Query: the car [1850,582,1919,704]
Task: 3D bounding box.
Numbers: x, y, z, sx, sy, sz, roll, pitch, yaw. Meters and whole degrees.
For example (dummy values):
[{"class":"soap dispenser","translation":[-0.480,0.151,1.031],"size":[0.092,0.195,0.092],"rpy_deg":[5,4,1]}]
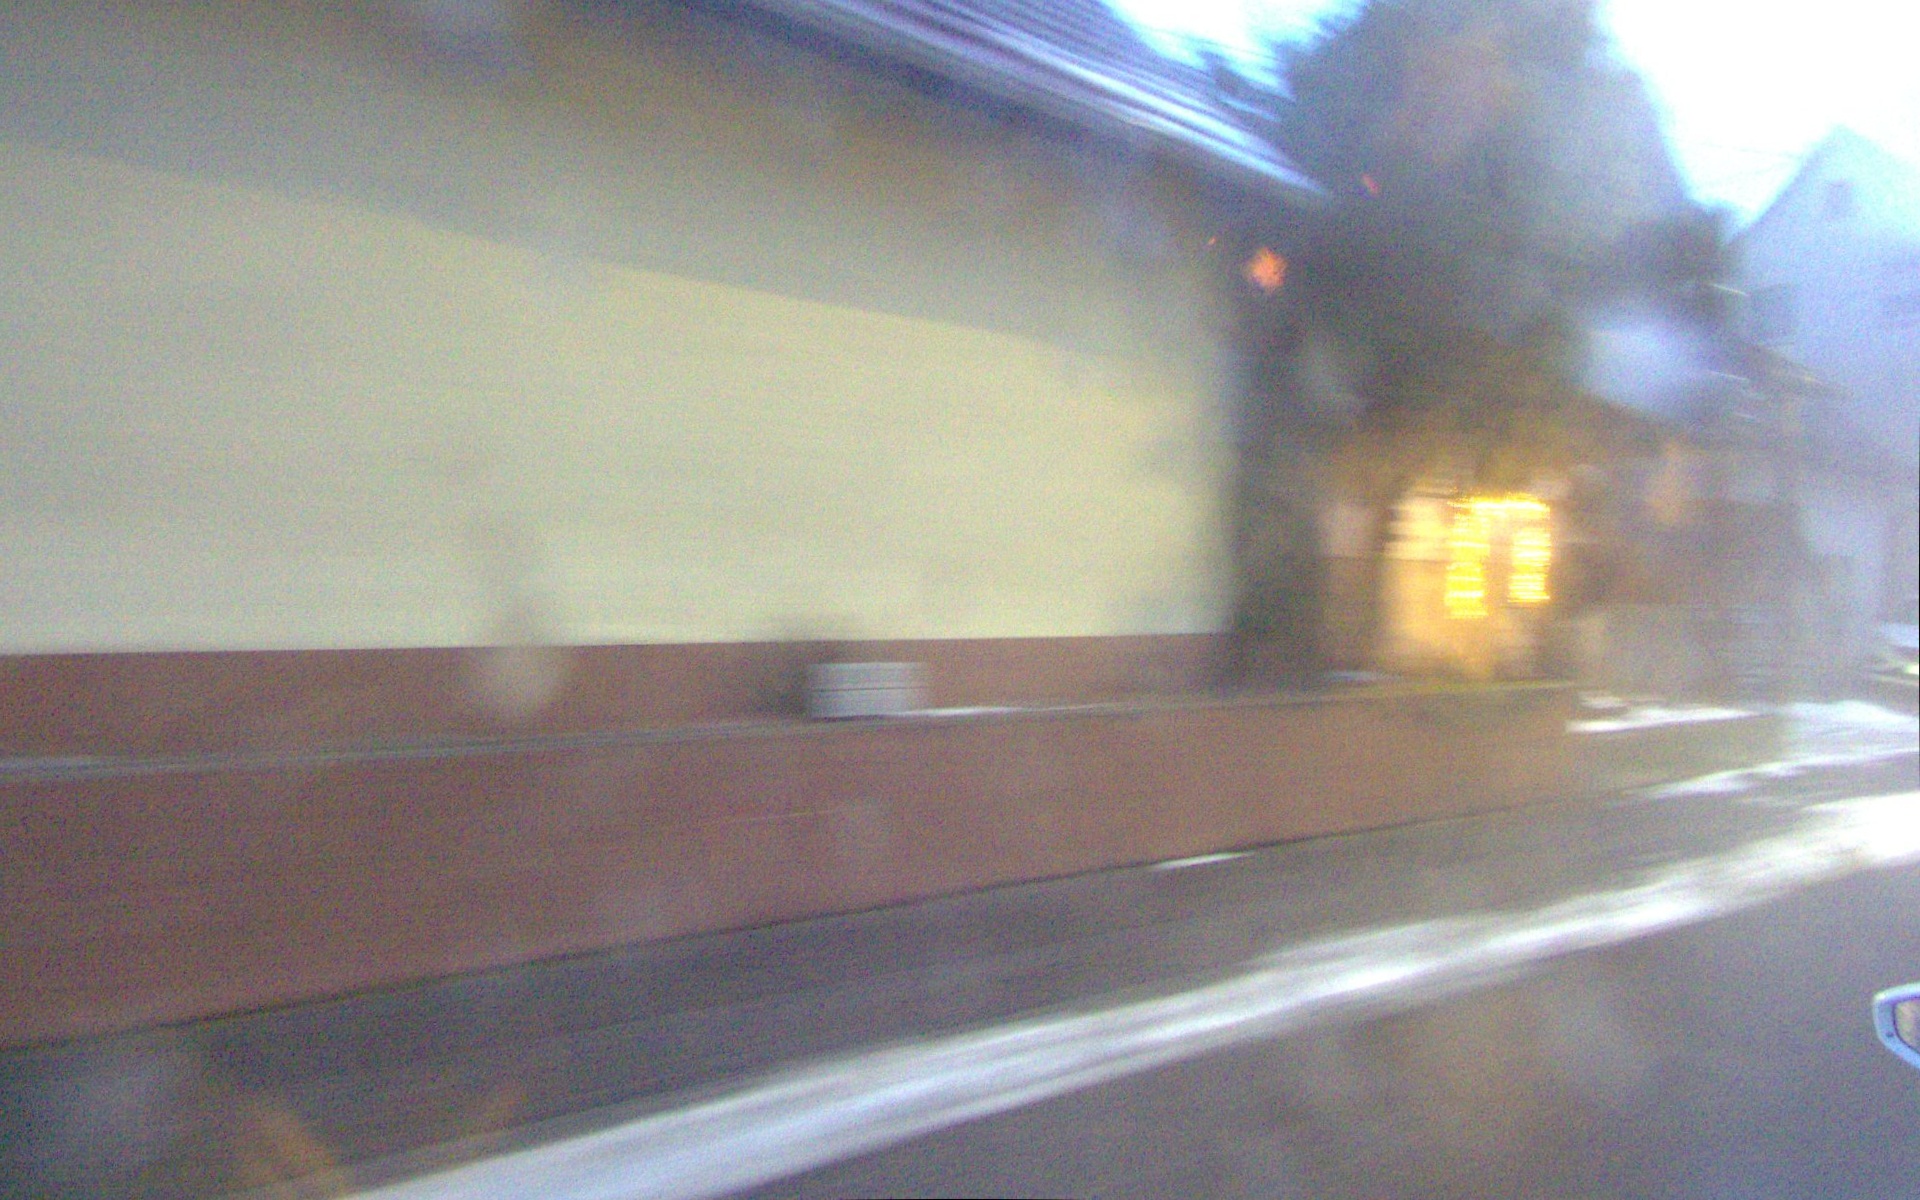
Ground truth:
[{"class":"car","translation":[16.405,0.750,16.399],"size":[4.596,1.760,1.751],"rpy_deg":[2,5,-37]}]
